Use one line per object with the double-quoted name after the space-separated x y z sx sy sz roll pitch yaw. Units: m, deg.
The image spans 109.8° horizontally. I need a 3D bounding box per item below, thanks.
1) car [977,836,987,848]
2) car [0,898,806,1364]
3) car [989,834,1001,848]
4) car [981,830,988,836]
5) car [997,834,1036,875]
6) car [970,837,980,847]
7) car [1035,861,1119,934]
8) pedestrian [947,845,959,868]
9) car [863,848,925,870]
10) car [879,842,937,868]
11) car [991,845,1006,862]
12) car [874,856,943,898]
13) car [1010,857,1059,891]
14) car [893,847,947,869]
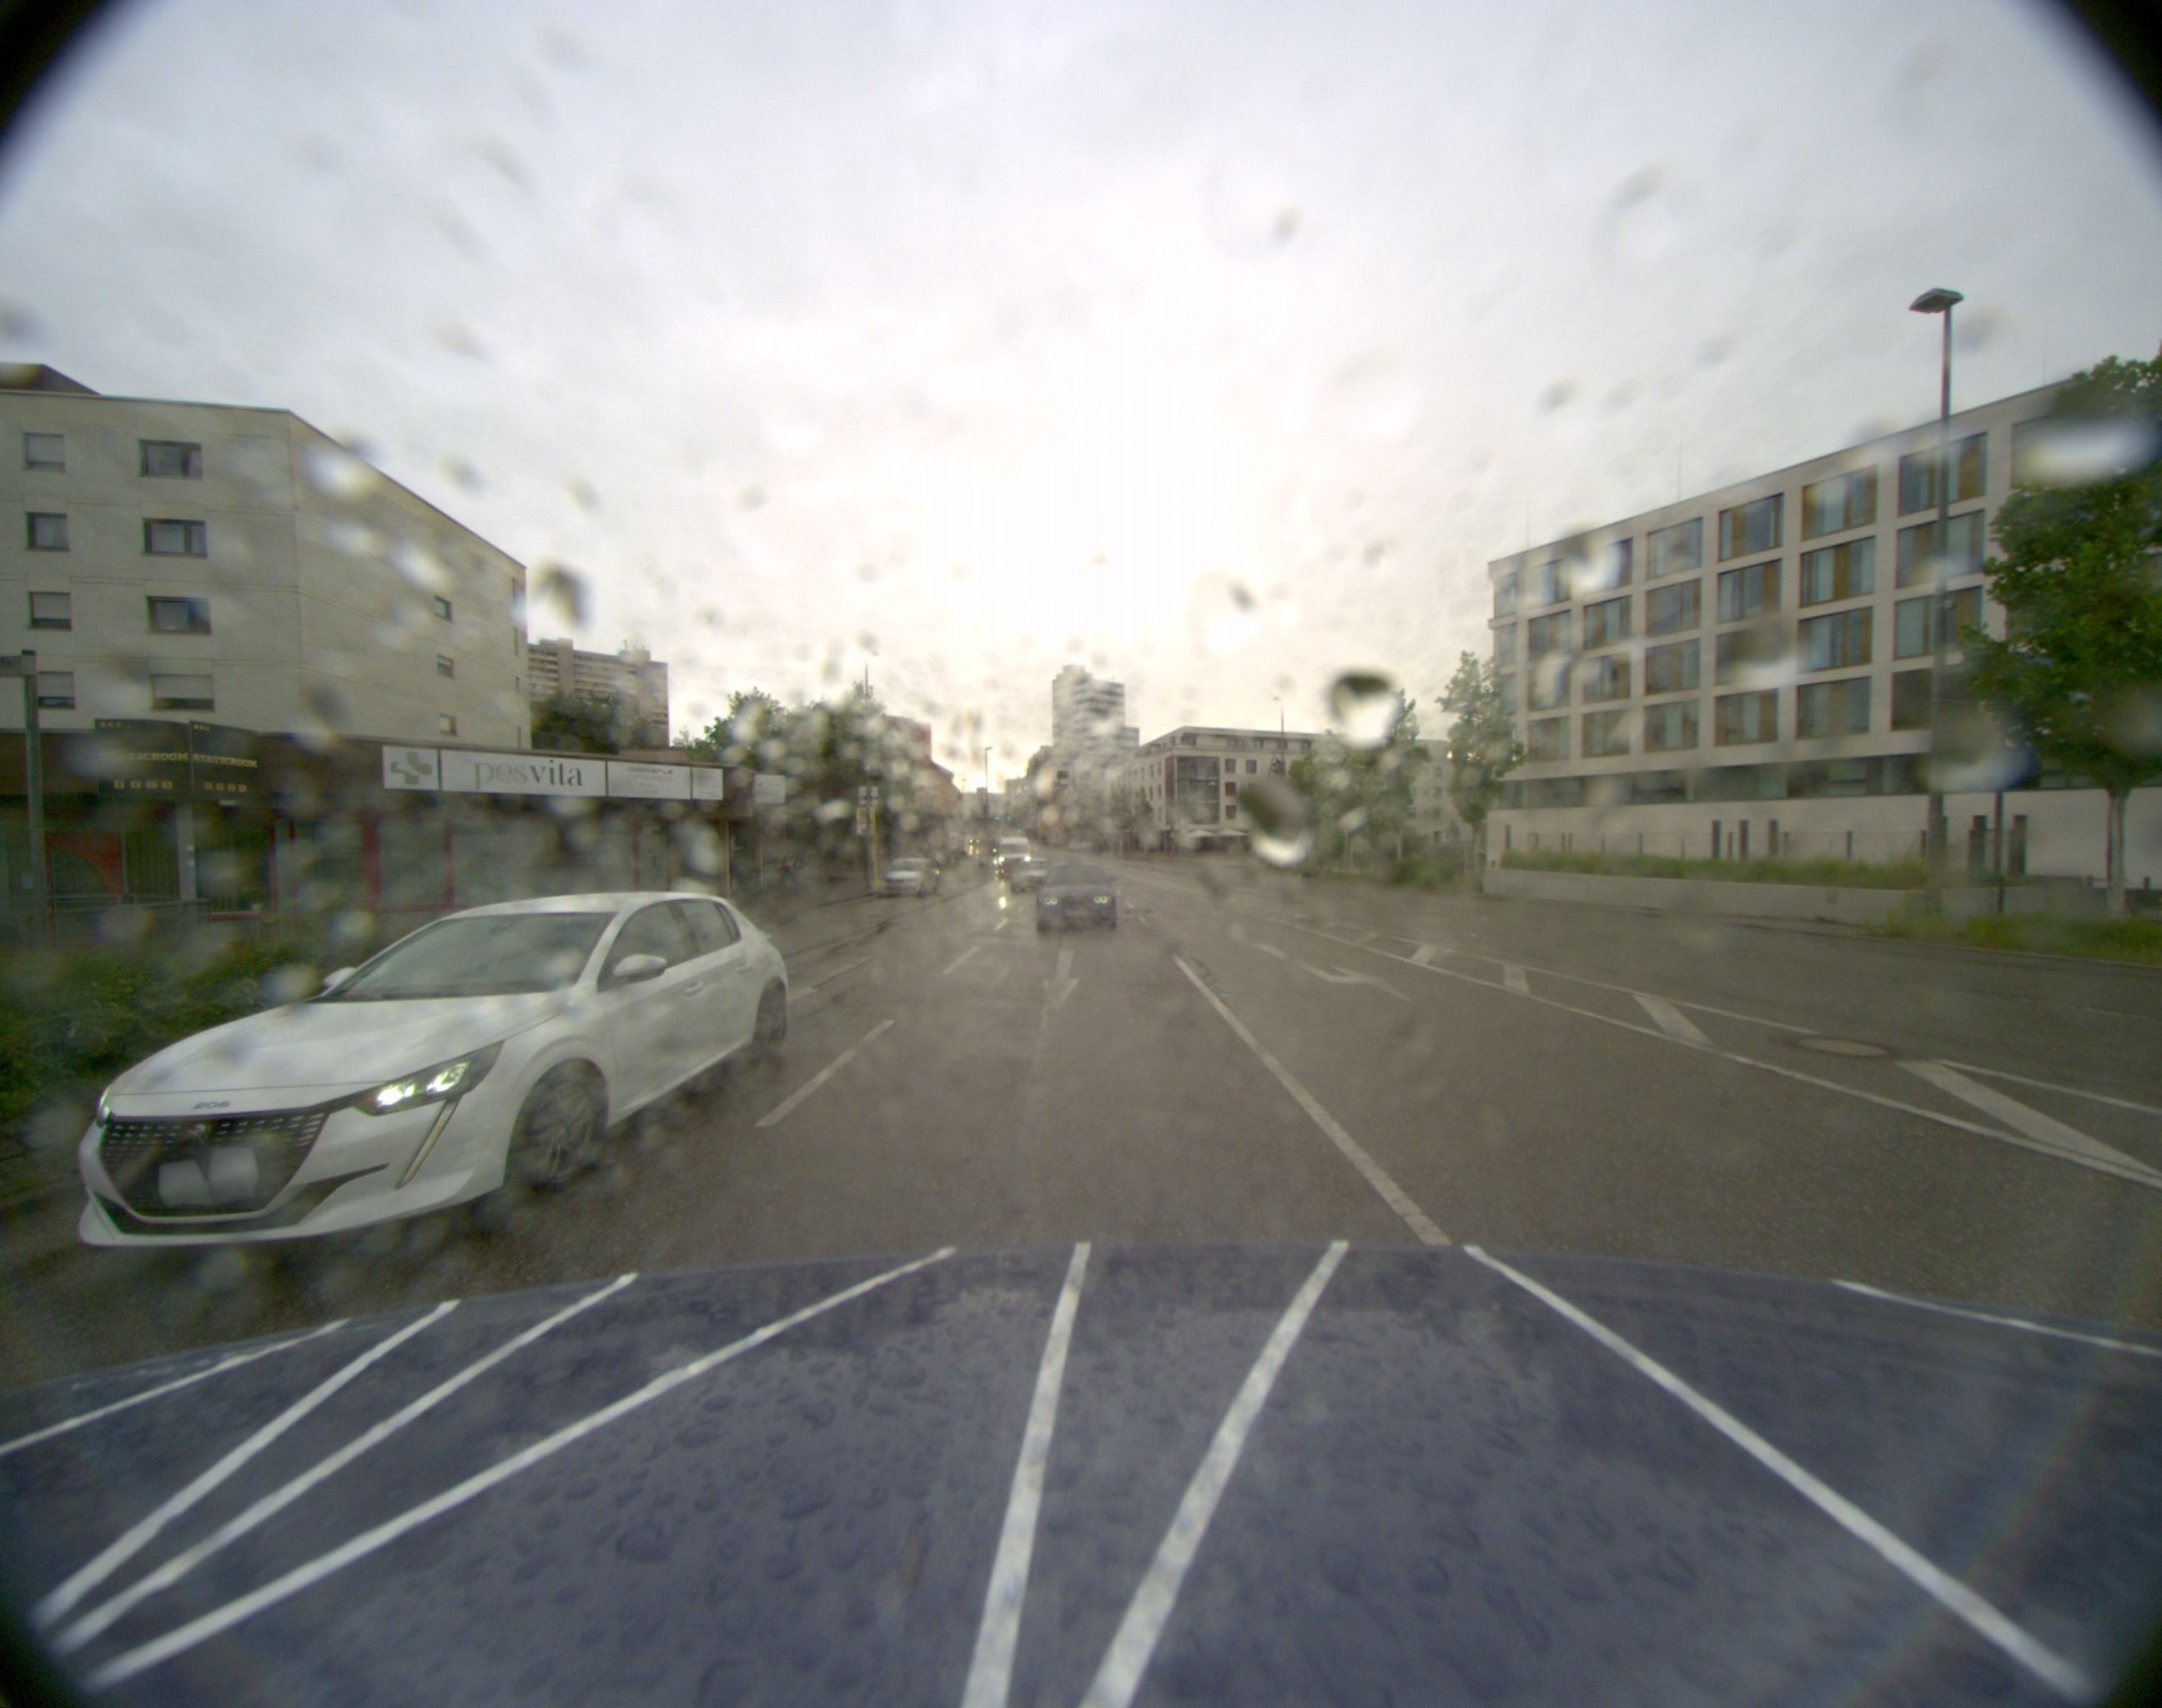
-17.154 -2.039 131.786 1.722 1.988 3.833 -2 1 -8 "car"
-3.364 1.136 4.825 1.666 1.407 4.115 -2 0 1 "car"
-12.642 -1.907 111.467 1.722 1.988 3.833 -2 1 -8 "car"
-26.964 -5.773 212.008 1.666 1.624 3.801 -2 0 -11 "car"
-4.151 -0.034 49.894 2.197 2.503 6.120 -1 1 -2 "car"
-22.890 -2.646 164.434 2.000 2.002 3.997 -2 1 -6 "car"
-0.130 0.916 17.590 1.693 1.380 3.999 -2 0 -1 "car"
-9.997 0.162 59.471 0.750 1.772 0.752 -2 1 -3 "pedestrian"
-12.864 0.362 52.471 4.000 1.419 1.882 -1 1 -10 "car"
-12.509 0.072 55.111 4.000 1.769 1.882 -1 1 -10 "car"
-10.060 -0.108 92.898 1.721 1.988 3.834 -2 1 -4 "car"
-6.919 0.878 30.912 1.788 1.481 4.000 -2 0 1 "car"
-2.020 0.835 33.969 1.788 1.338 4.162 -2 1 1 "car"
-12.317 0.295 58.317 4.000 1.584 1.883 -1 -1 -10 "car"
